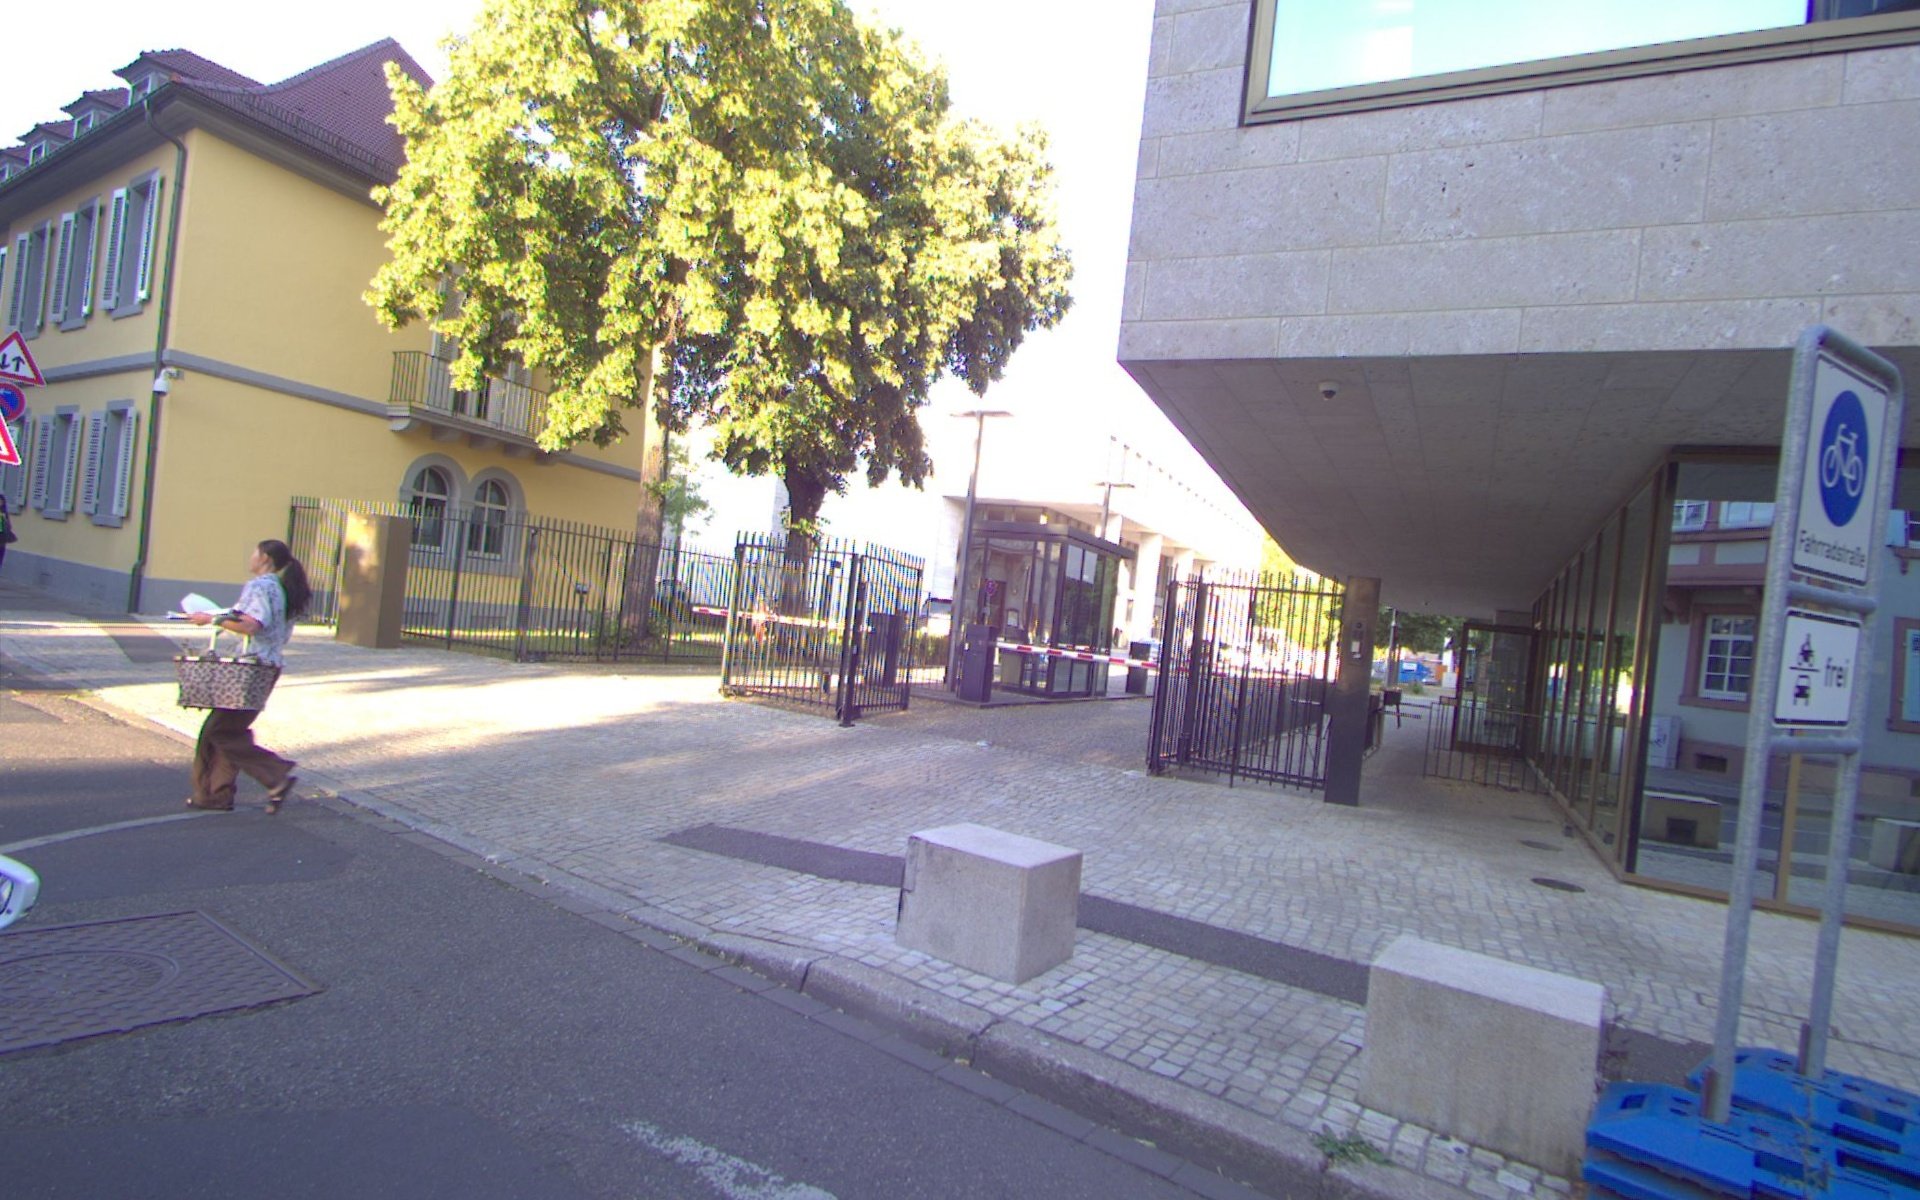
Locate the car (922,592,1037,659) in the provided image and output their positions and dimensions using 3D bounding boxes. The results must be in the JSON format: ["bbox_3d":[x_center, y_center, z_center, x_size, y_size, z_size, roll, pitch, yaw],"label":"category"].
[{"bbox_3d":[0.691,0.861,31.960,1.681,1.758,4.056,8,1,30],"label":"car"}]

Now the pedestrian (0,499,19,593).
[{"bbox_3d":[-16.917,-0.973,17.590,0.663,1.614,0.467,6,0,38],"label":"pedestrian"}]

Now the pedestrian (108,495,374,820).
[{"bbox_3d":[-4.065,0.331,5.767,0.945,1.679,0.637,6,0,-17],"label":"pedestrian"}]
